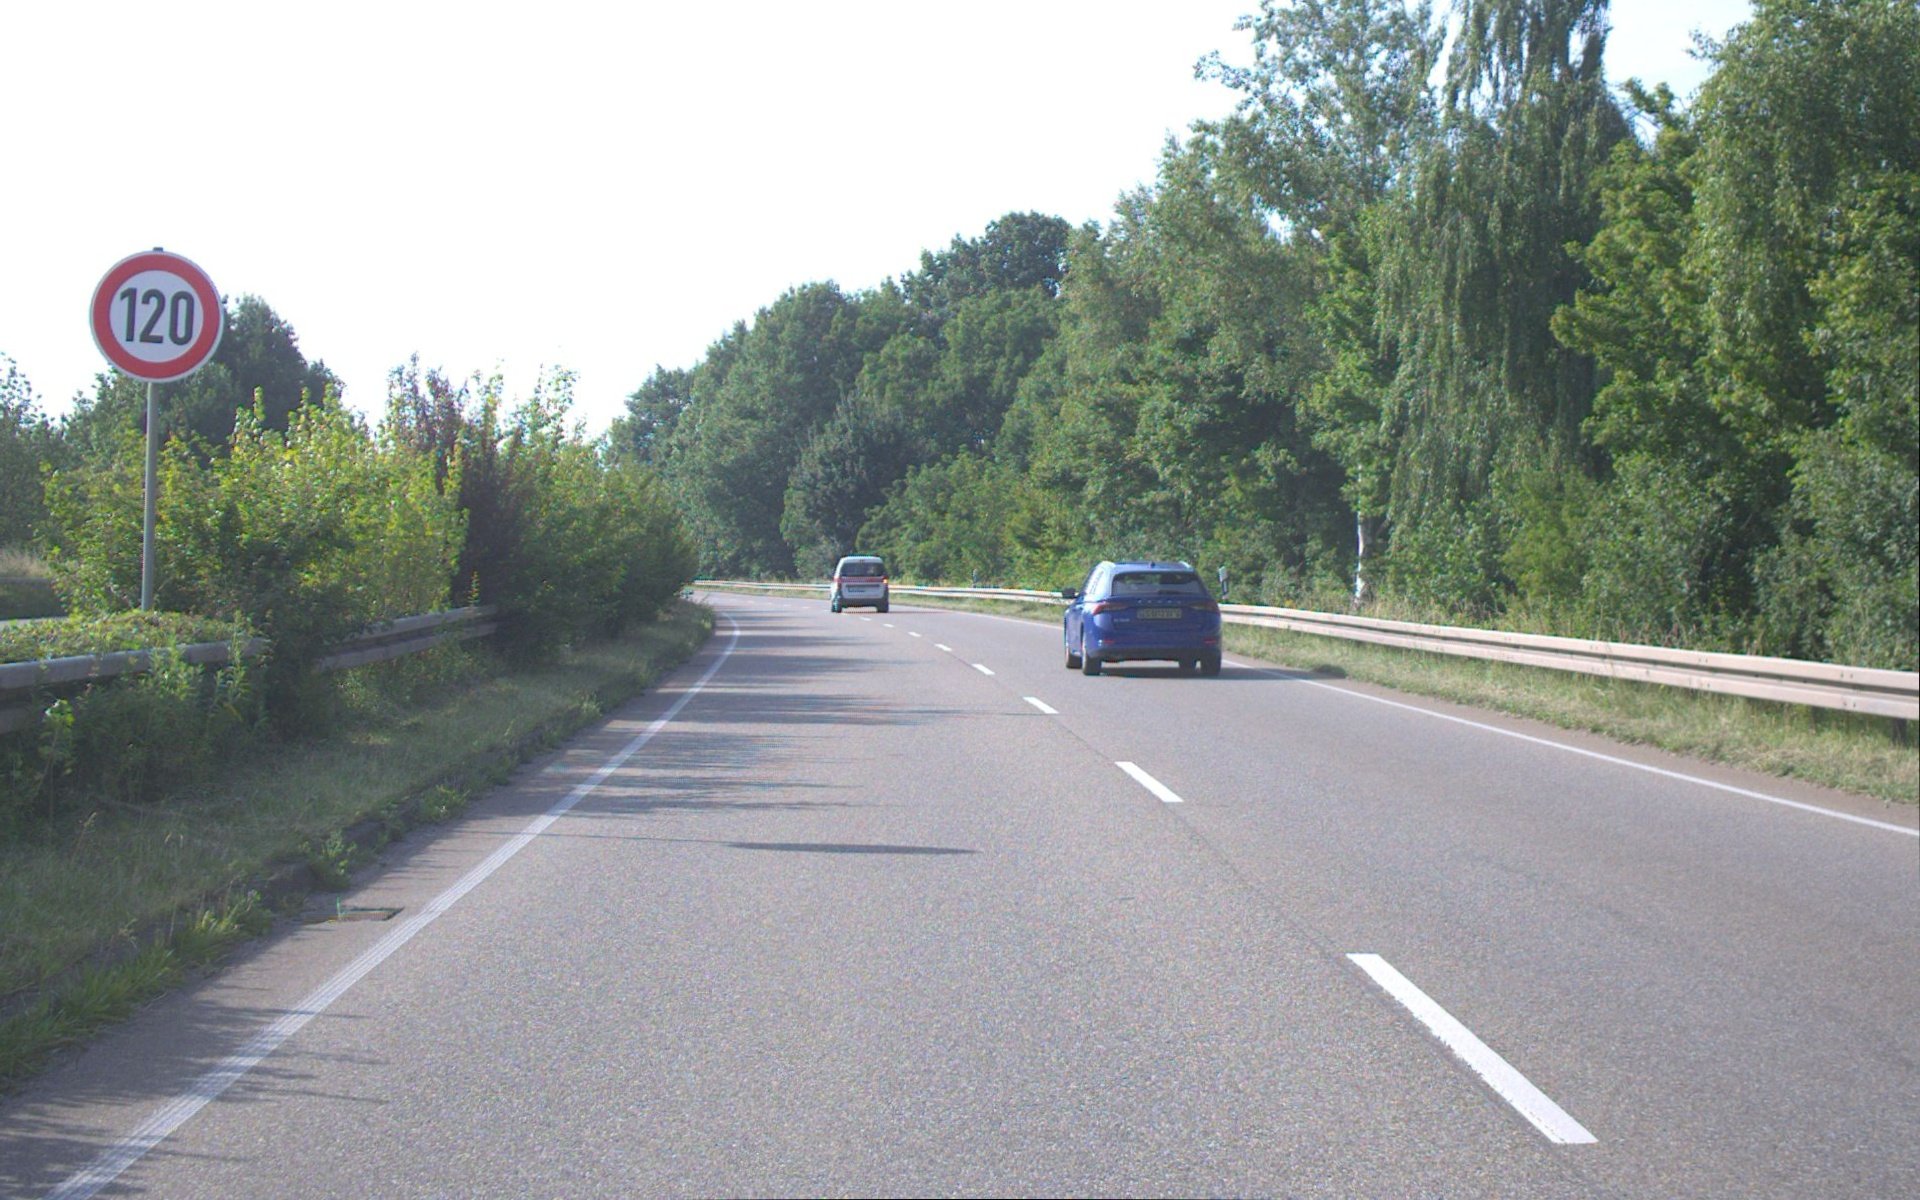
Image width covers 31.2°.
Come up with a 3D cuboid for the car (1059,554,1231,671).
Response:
[{"bbox_3d":[2.352,0.141,44.711,1.779,1.446,4.001,0,0,-4],"label":"car"}]

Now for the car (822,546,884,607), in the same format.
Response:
[{"bbox_3d":[-3.470,-0.772,110.898,1.765,1.875,4.001,0,1,-5],"label":"car"}]
